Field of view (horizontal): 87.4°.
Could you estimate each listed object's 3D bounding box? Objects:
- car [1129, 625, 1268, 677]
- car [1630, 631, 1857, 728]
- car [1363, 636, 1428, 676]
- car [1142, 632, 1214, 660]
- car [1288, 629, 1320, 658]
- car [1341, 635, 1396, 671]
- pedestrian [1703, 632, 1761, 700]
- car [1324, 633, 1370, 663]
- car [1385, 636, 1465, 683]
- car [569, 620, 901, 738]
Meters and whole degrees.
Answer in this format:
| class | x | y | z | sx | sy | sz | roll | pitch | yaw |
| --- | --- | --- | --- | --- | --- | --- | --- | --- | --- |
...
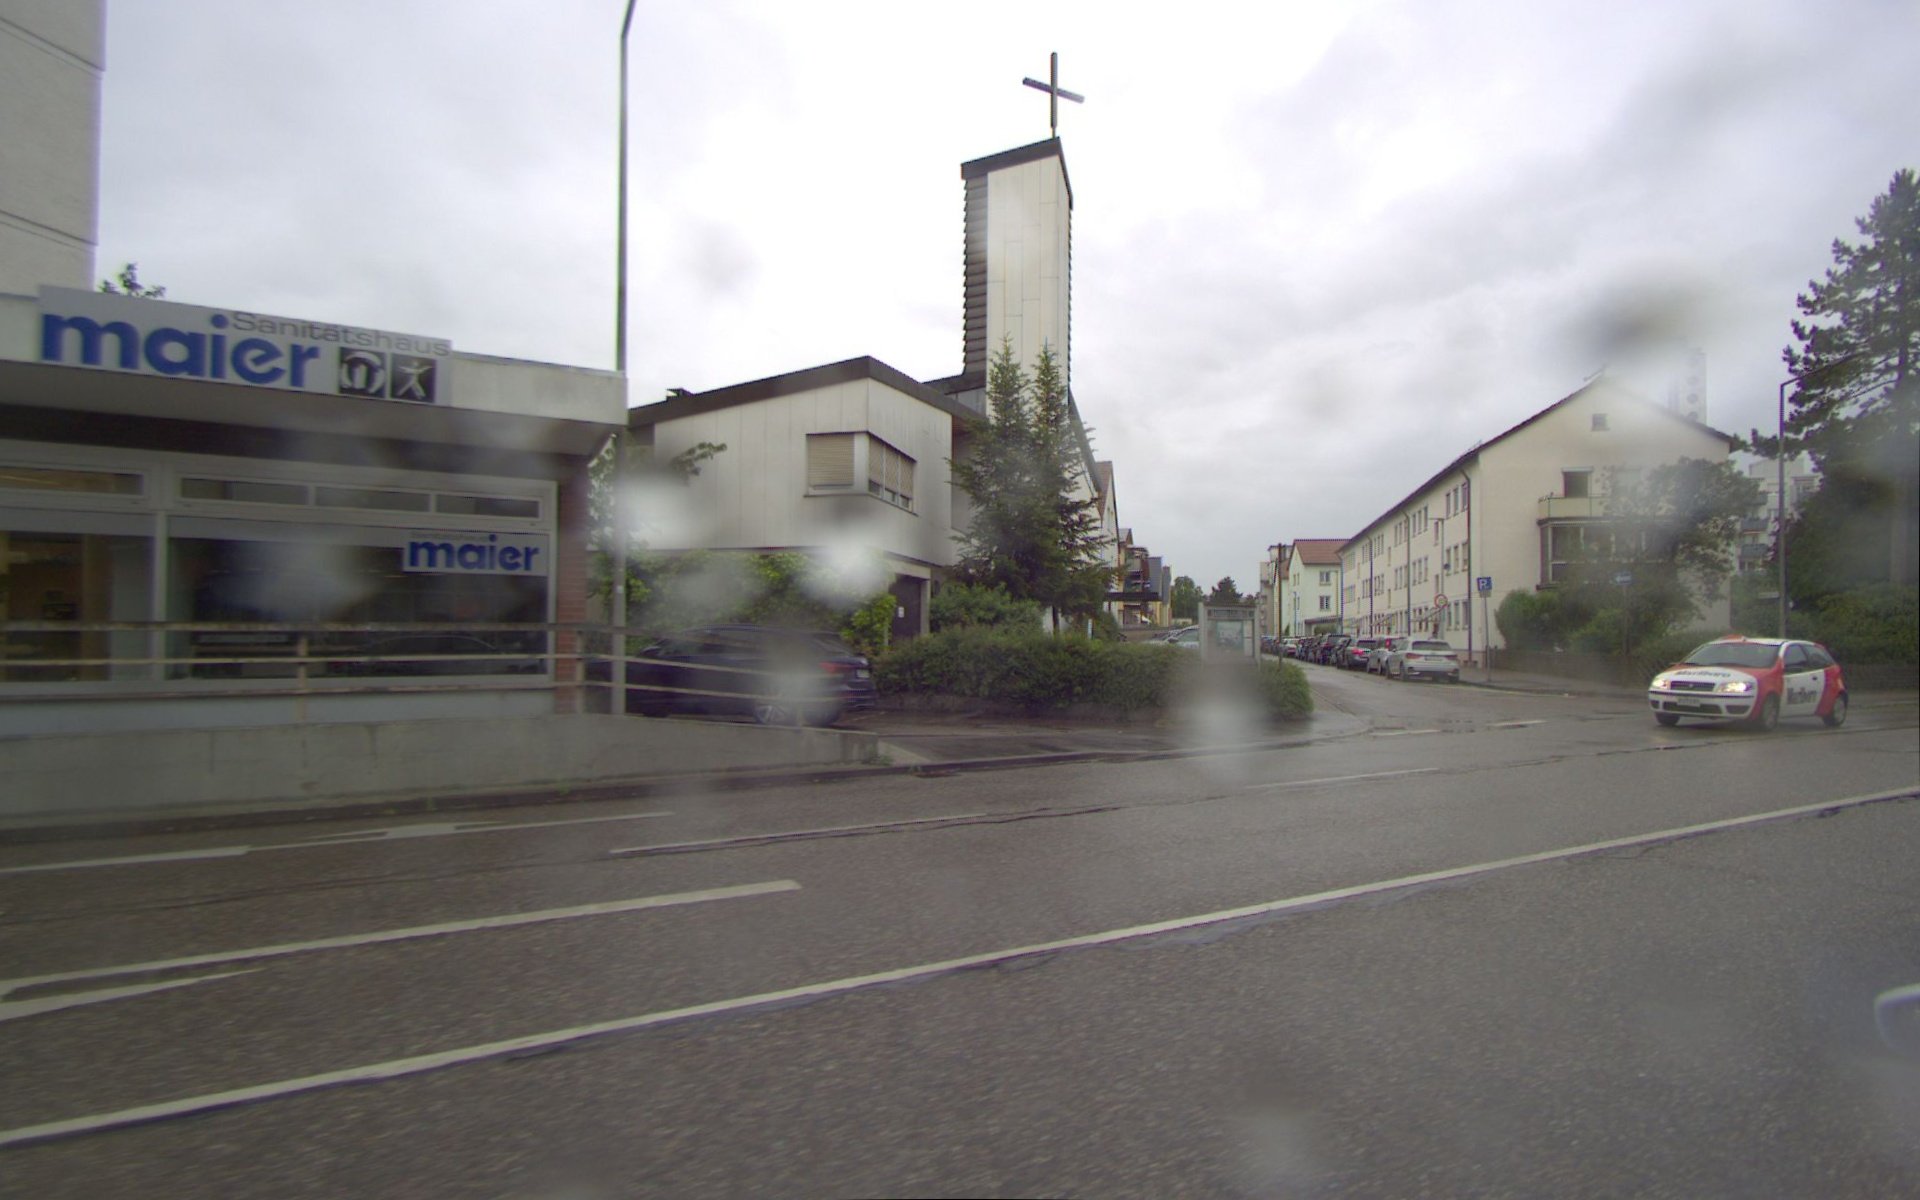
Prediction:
| class | x | y | z | sx | sy | sz | roll | pitch | yaw |
| --- | --- | --- | --- | --- | --- | --- | --- | --- | --- |
| car | 8.010 | 1.675 | 33.677 | 4.301 | 1.636 | 2.132 | 0 | -2 | 21 |
| car | 13.374 | 1.306 | 17.108 | 3.954 | 1.427 | 1.690 | 0 | -4 | -31 |
| car | 17.069 | 2.166 | 39.531 | 1.751 | 1.465 | 3.825 | 0 | -2 | 15 |
| car | 12.130 | 2.526 | 55.843 | 3.745 | 1.465 | 1.788 | 0 | -2 | 17 |
| car | 24.904 | 3.152 | 72.815 | 1.960 | 2.040 | 4.002 | 0 | -2 | 15 |
| car | 17.942 | 2.300 | 44.264 | 1.751 | 1.465 | 3.825 | 0 | -2 | 15 |
| pedestrian | 19.006 | 1.620 | 24.738 | 1.093 | 1.628 | 0.863 | 3 | -3 | -36 |
| car | 19.589 | 2.397 | 50.959 | 1.751 | 1.465 | 3.825 | 0 | -2 | 15 |
| car | 15.578 | 1.948 | 33.855 | 1.751 | 1.465 | 4.004 | 0 | -2 | 15 |
| car | -3.271 | 1.098 | 14.949 | 4.380 | 1.566 | 2.001 | 0 | -2 | 14 |
